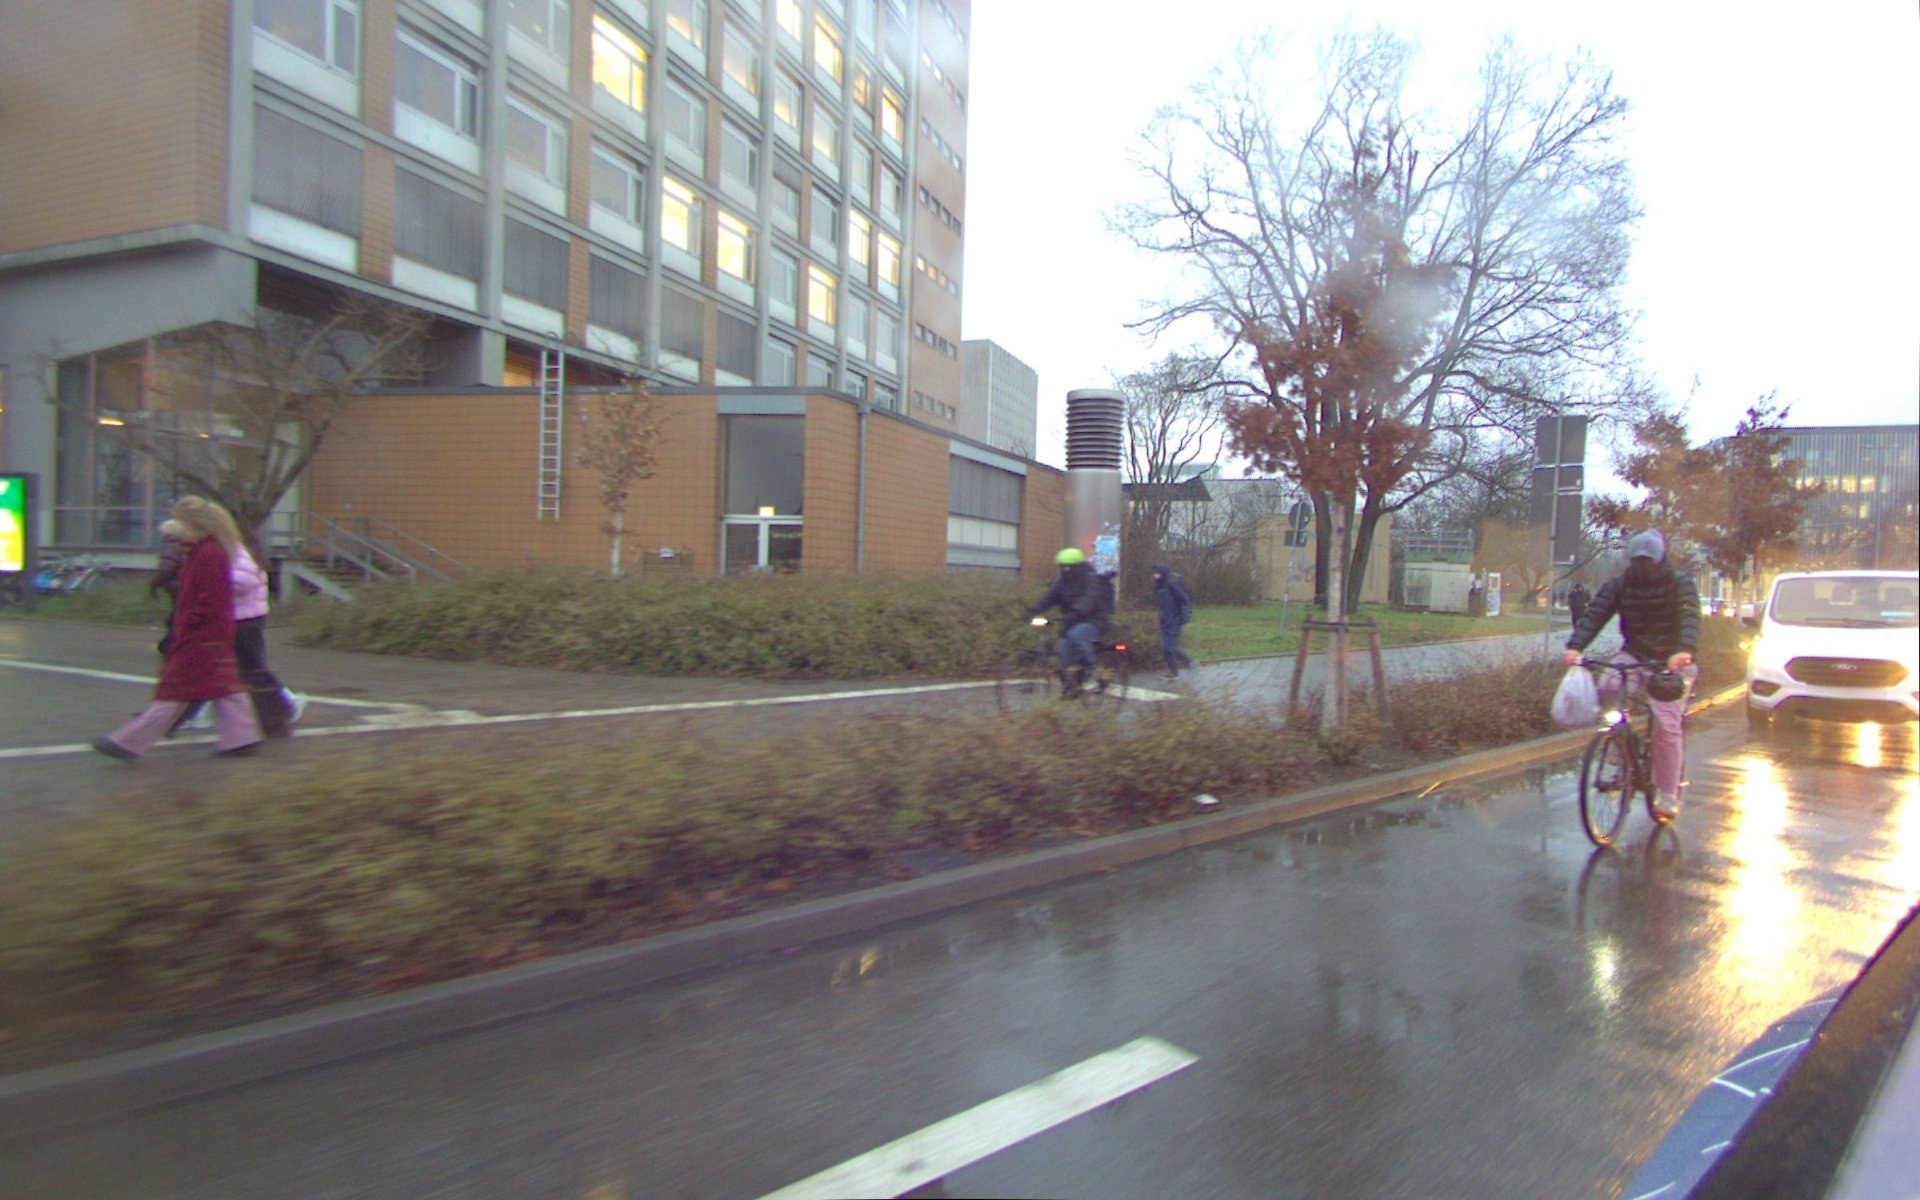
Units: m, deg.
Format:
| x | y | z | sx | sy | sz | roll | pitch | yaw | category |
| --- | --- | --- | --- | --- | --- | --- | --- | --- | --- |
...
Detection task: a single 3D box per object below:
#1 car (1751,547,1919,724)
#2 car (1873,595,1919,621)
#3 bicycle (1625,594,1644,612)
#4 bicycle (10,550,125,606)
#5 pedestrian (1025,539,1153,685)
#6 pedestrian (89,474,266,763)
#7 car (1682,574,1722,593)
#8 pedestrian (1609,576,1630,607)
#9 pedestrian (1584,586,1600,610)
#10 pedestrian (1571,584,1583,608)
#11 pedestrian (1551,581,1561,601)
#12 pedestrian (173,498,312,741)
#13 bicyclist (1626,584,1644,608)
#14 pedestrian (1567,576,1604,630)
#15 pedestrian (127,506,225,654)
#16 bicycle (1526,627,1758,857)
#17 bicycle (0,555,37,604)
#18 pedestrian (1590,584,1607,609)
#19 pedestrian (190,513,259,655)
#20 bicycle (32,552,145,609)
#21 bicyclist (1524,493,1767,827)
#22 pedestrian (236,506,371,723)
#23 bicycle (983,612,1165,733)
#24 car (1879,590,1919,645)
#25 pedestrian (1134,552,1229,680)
| x | y | z | sx | sy | sz | roll | pitch | yaw | category |
| --- | --- | --- | --- | --- | --- | --- | --- | --- | --- |
| 11.849 | 0.464 | 13.372 | 2.128 | 1.945 | 4.946 | 2 | 0 | 38 | car |
| 56.434 | 0.457 | 60.195 | 1.913 | 1.393 | 4.458 | 3 | 2 | 26 | car |
| 47.758 | 0.197 | 71.648 | 0.799 | 1.155 | 2.193 | 5 | 3 | 27 | bicycle |
| -18.552 | -0.458 | 21.091 | 0.437 | 1.115 | 1.781 | 2 | 2 | 24 | bicycle |
| 1.252 | 0.092 | 9.867 | 0.834 | 1.333 | 0.876 | 0 | 2 | -43 | pedestrian |
| -5.140 | 0.109 | 6.693 | 0.753 | 1.803 | 0.587 | 1 | 3 | -15 | pedestrian |
| 67.190 | -1.506 | 91.729 | 1.981 | 1.586 | 4.719 | 4 | 3 | 26 | car |
| 40.746 | -0.523 | 62.549 | 0.924 | 1.848 | 0.826 | 3 | 2 | 26 | pedestrian |
| 49.989 | -0.138 | 80.066 | 0.924 | 1.848 | 0.826 | 3 | 2 | 26 | pedestrian |
| 53.873 | -0.327 | 88.399 | 0.758 | 2.038 | 0.903 | 2 | 2 | 25 | pedestrian |
| 62.138 | -0.908 | 105.495 | 0.758 | 2.038 | 0.766 | 2 | 2 | 25 | pedestrian |
| -5.320 | 0.132 | 7.539 | 0.599 | 1.708 | 0.671 | 3 | 2 | -16 | pedestrian |
| 47.834 | -0.268 | 71.738 | 0.799 | 1.637 | 1.075 | 5 | 3 | 27 | bicyclist |
| 20.647 | 0.107 | 33.419 | 0.906 | 1.708 | 0.917 | 4 | 1 | 32 | pedestrian |
| -10.021 | -0.263 | 12.939 | 0.847 | 1.813 | 0.740 | 2 | 1 | 32 | pedestrian |
| 4.483 | 0.821 | 6.601 | 1.870 | 1.238 | 0.794 | 0 | 0 | -41 | bicycle |
| -20.611 | -0.432 | 21.013 | 0.700 | 1.003 | 2.044 | 2 | 2 | 24 | bicycle |
| 47.847 | -0.276 | 75.821 | 0.924 | 1.848 | 0.826 | 3 | 2 | 26 | pedestrian |
| -9.707 | -0.218 | 13.362 | 0.579 | 1.813 | 0.554 | 2 | 1 | 32 | pedestrian |
| -17.947 | -0.399 | 20.886 | 0.397 | 1.115 | 1.781 | 2 | 2 | 24 | bicycle |
| 4.450 | 0.333 | 6.566 | 1.214 | 1.907 | 1.026 | 0 | 0 | -41 | bicyclist |
| -5.427 | 0.107 | 8.410 | 0.744 | 1.708 | 0.722 | 1 | 1 | -16 | pedestrian |
| 1.136 | 0.636 | 9.670 | 0.562 | 0.958 | 2.062 | 4 | 3 | 44 | bicycle |
| 28.659 | 0.567 | 29.938 | 4.242 | 1.523 | 1.752 | 3 | -1 | -42 | car |
| 3.167 | 0.204 | 14.451 | 1.053 | 1.708 | 0.808 | 0 | 3 | -45 | pedestrian |
